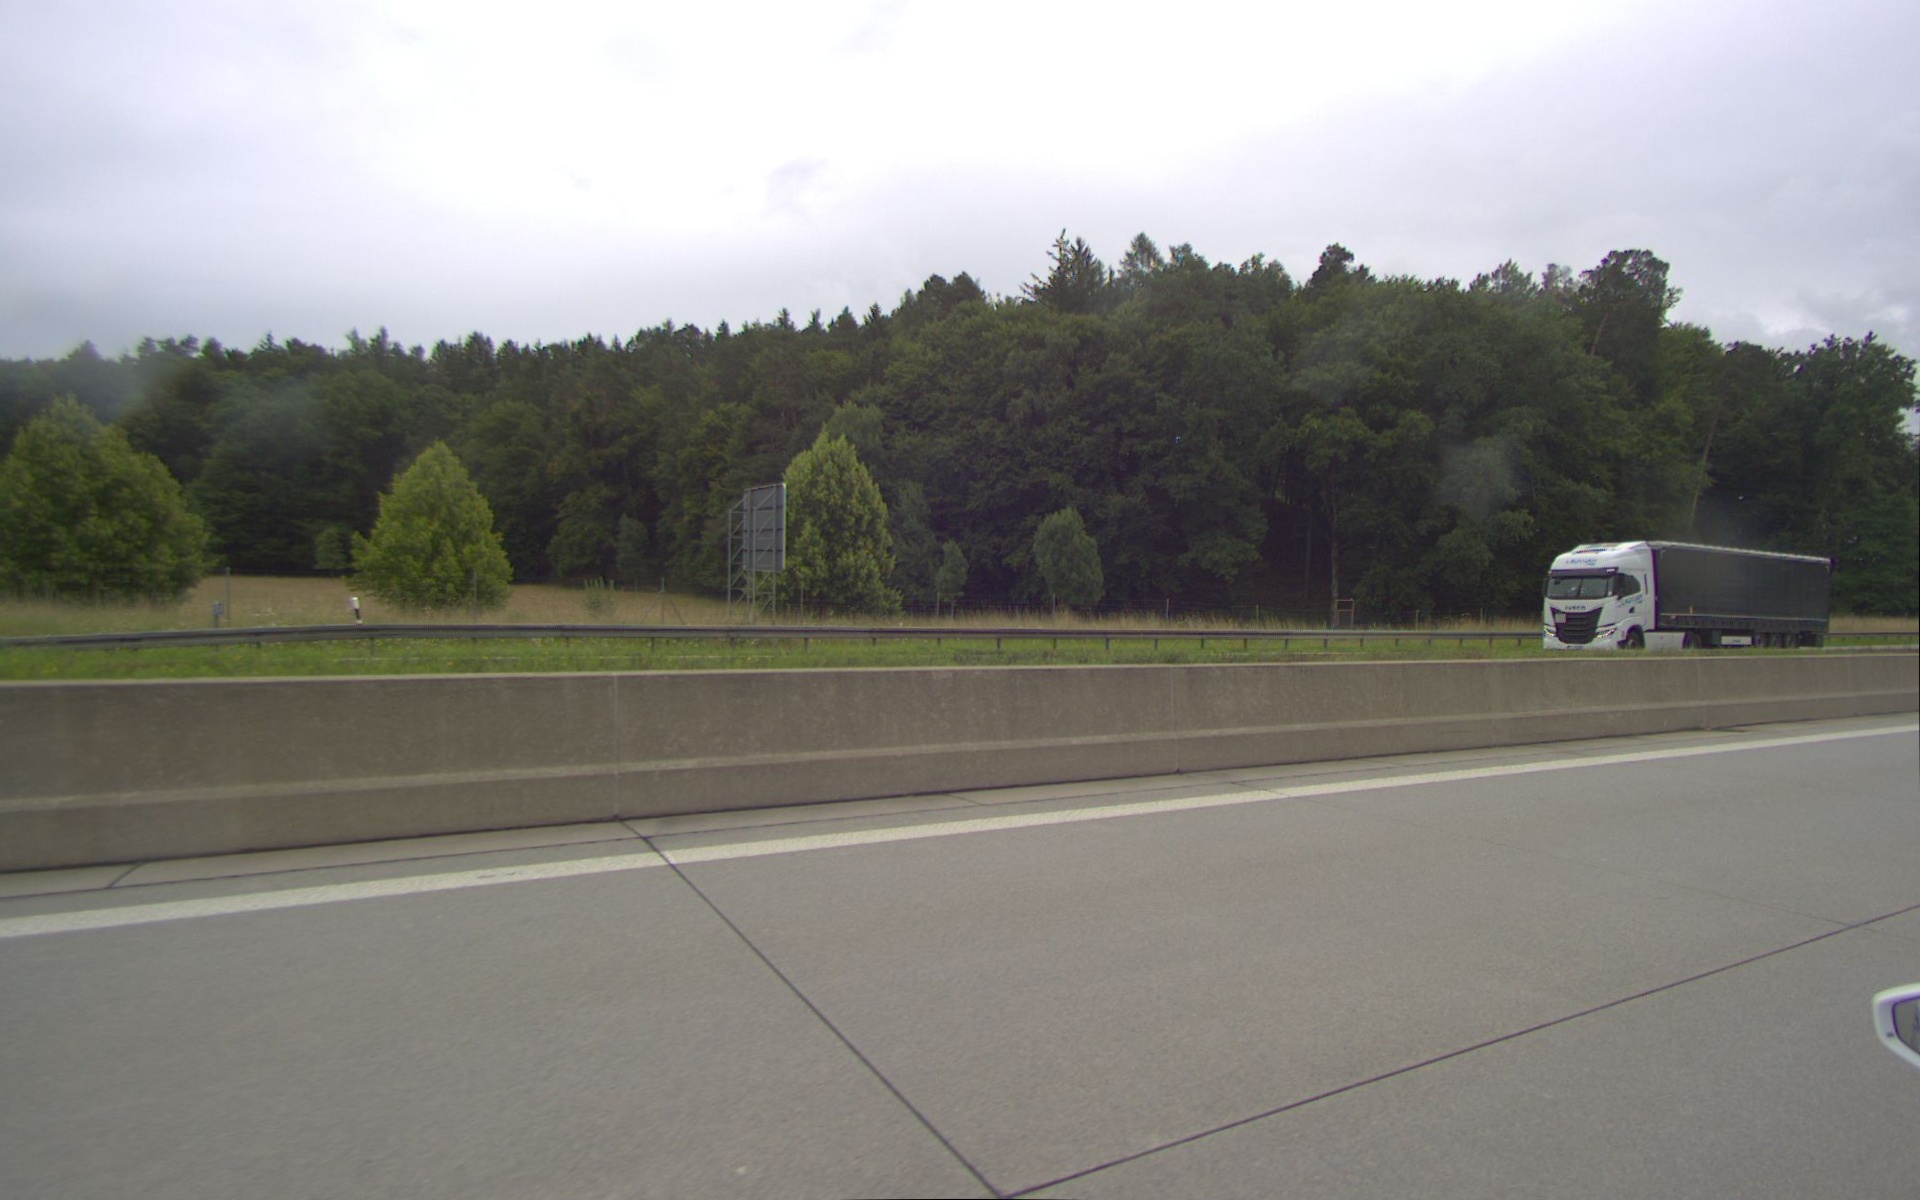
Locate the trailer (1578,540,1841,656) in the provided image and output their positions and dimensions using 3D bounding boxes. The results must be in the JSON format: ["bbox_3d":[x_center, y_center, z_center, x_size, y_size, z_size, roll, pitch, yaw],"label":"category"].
[{"bbox_3d":[30.422,0.003,40.418,13.963,4.107,3.220,1,1,-30],"label":"trailer"}]

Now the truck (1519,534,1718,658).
[{"bbox_3d":[24.087,-0.103,36.696,7.081,4.111,3.197,1,1,-30],"label":"truck"}]
